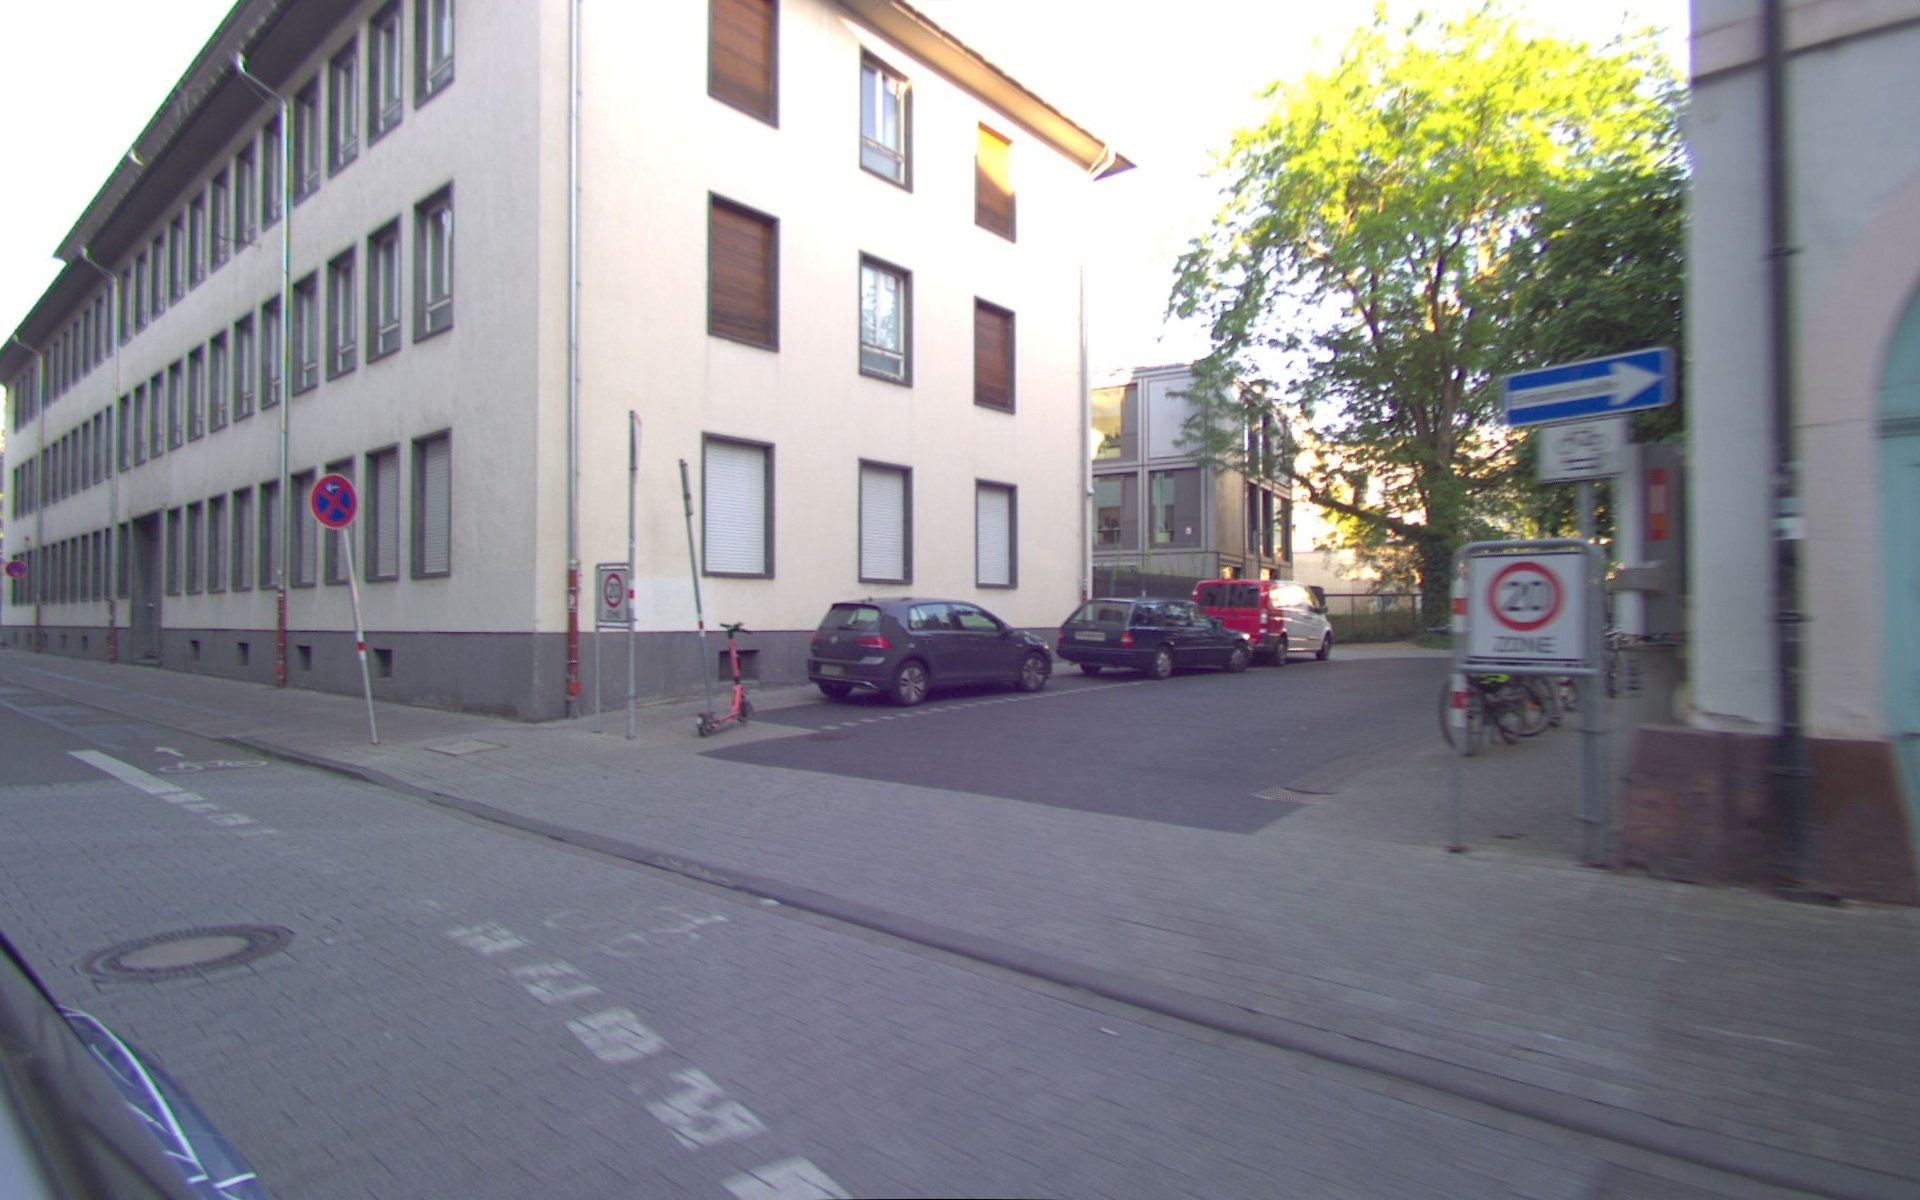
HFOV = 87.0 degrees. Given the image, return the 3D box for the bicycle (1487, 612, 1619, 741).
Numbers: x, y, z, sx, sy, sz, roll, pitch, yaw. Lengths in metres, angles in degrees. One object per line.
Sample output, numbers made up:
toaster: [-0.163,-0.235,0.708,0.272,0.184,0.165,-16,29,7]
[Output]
bicycle: [6.258,0.749,10.631,1.903,1.226,0.628,0,-1,-42]

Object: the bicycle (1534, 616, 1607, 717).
bicycle: [7.726,0.793,12.779,0.626,1.164,1.909,-1,-1,36]

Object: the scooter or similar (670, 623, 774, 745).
scooter or similar: [-2.659,0.906,11.420,0.528,1.209,1.359,-1,2,16]

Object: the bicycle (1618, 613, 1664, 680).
bicycle: [12.532,0.823,18.611,0.626,1.164,1.909,-1,-1,36]

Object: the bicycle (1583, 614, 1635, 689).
bicycle: [10.787,0.815,16.799,0.626,1.164,1.909,-1,-1,35]

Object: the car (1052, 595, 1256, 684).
car: [3.733,0.655,18.962,1.729,1.451,4.206,1,1,44]

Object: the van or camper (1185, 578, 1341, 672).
van or camper: [7.050,0.483,23.236,1.933,1.923,4.651,1,1,37]

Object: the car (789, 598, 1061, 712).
car: [-0.407,0.710,14.901,1.728,1.451,3.914,-1,-1,43]

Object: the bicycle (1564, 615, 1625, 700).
bicycle: [9.385,0.805,14.938,0.626,1.164,1.909,-1,-1,36]

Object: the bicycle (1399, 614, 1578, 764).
bicycle: [4.814,0.744,9.166,1.901,1.226,0.629,0,-1,-35]
